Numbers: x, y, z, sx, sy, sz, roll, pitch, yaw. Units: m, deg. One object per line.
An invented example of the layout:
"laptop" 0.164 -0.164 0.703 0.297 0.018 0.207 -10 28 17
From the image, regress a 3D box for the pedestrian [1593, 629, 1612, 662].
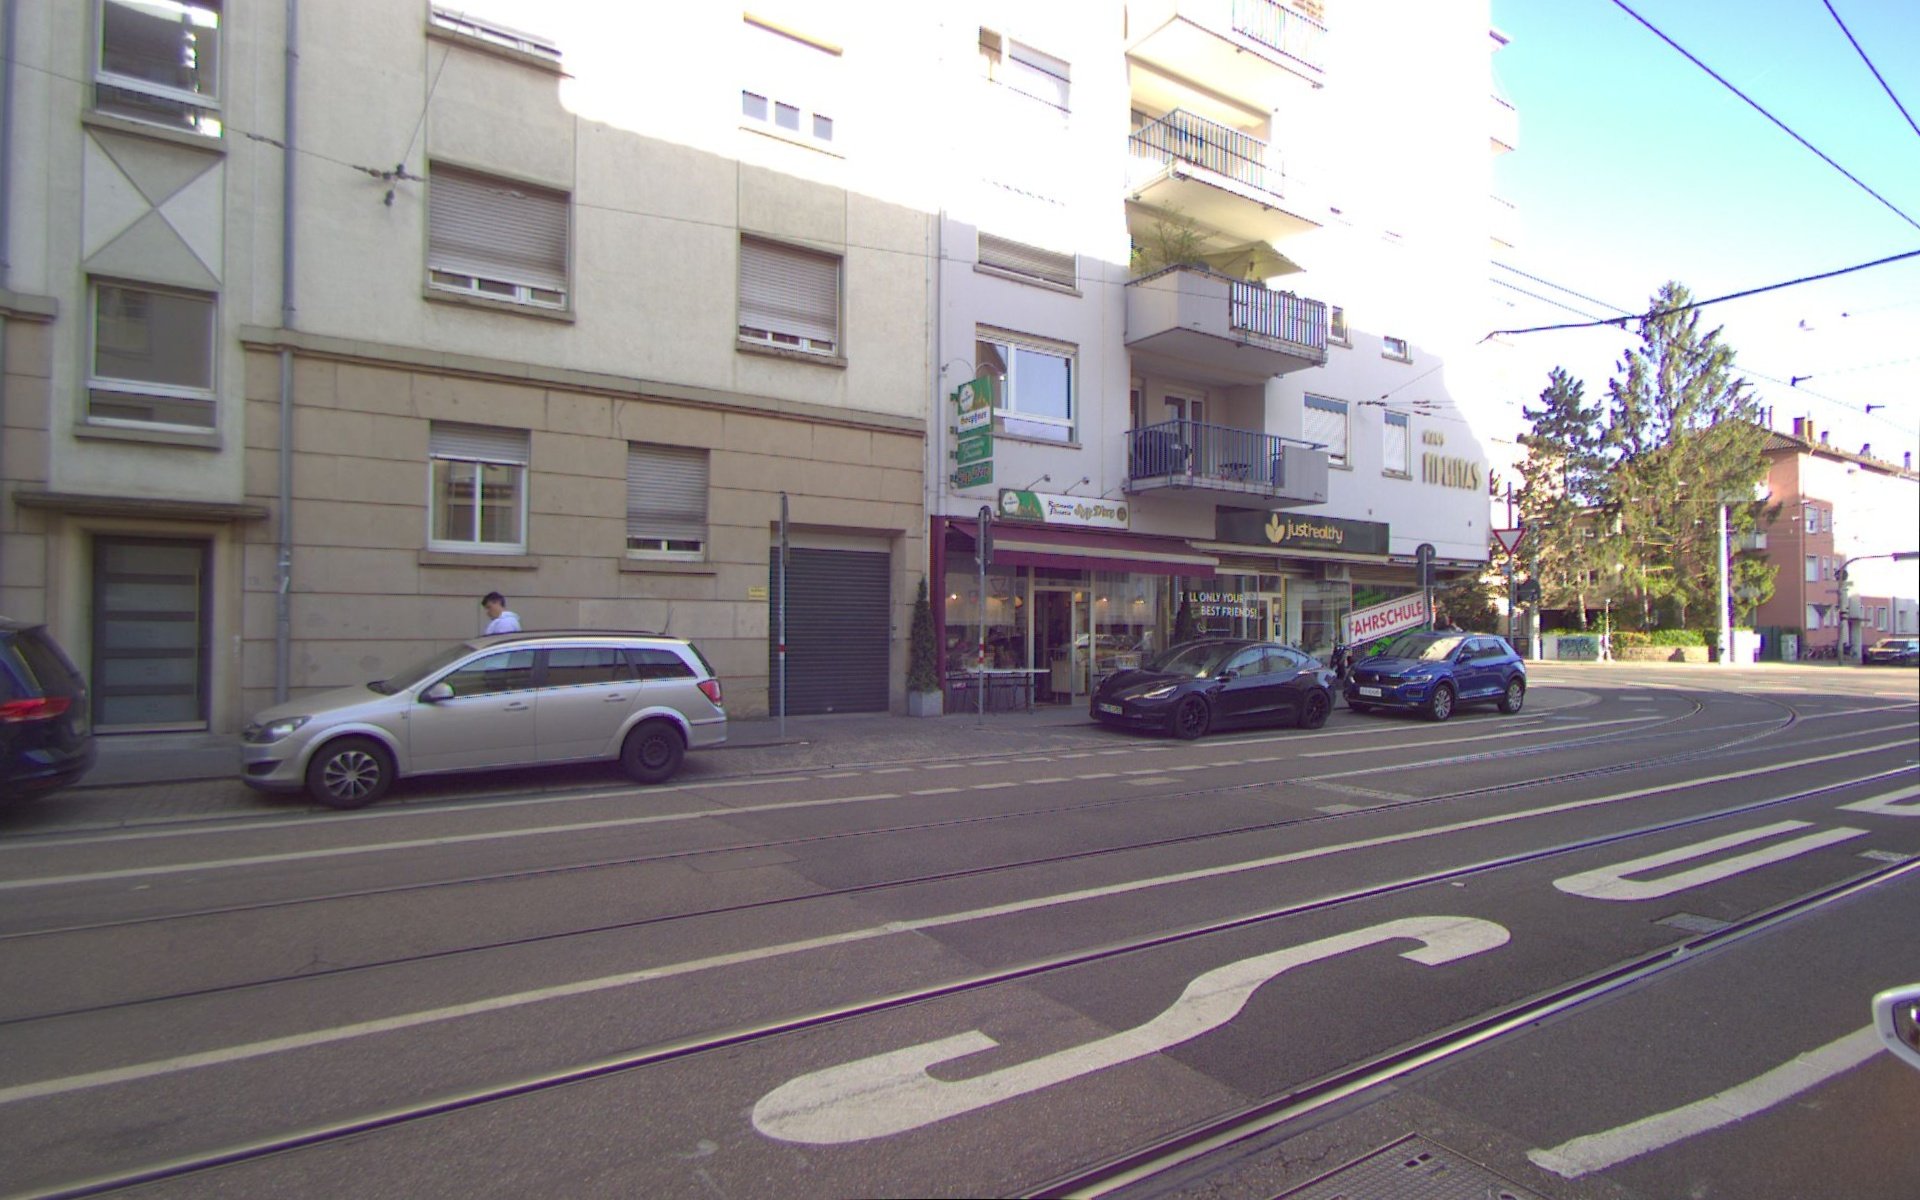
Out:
"pedestrian" 34.717 2.440 54.266 0.772 1.744 0.702 2 0 37

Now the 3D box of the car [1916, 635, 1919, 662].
"car" 58.459 2.909 59.497 4.185 1.546 1.731 2 0 -34

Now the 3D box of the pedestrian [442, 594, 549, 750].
"pedestrian" -5.608 0.843 12.138 0.998 1.791 0.656 2 0 -40

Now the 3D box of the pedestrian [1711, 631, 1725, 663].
"pedestrian" 38.677 2.409 51.260 0.509 1.589 0.572 2 0 33

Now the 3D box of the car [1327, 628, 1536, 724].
"car" 8.993 1.355 19.047 4.196 1.524 1.757 0 1 -36

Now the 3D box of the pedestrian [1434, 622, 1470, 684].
"pedestrian" 14.771 1.576 30.146 0.653 1.816 0.733 1 -1 -27

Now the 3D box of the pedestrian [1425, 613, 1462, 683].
"pedestrian" 13.690 1.356 28.446 0.727 1.925 0.573 3 -2 -15

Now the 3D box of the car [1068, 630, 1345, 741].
"car" 4.000 1.289 16.053 4.398 1.494 1.759 2 0 -33

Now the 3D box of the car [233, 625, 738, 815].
"car" -4.639 1.060 10.177 4.327 1.474 1.714 2 1 -35

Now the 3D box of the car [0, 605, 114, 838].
"car" -8.966 0.855 7.158 4.282 1.655 1.802 2 1 -35

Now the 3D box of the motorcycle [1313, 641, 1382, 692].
"motorcycle" 9.222 1.571 23.905 1.778 1.149 0.603 2 0 -34

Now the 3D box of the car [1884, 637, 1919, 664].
"car" 54.270 2.870 56.859 4.057 1.456 1.893 2 0 -32

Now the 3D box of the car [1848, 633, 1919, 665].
"car" 49.726 2.647 53.883 4.397 1.450 2.140 4 -1 -35
